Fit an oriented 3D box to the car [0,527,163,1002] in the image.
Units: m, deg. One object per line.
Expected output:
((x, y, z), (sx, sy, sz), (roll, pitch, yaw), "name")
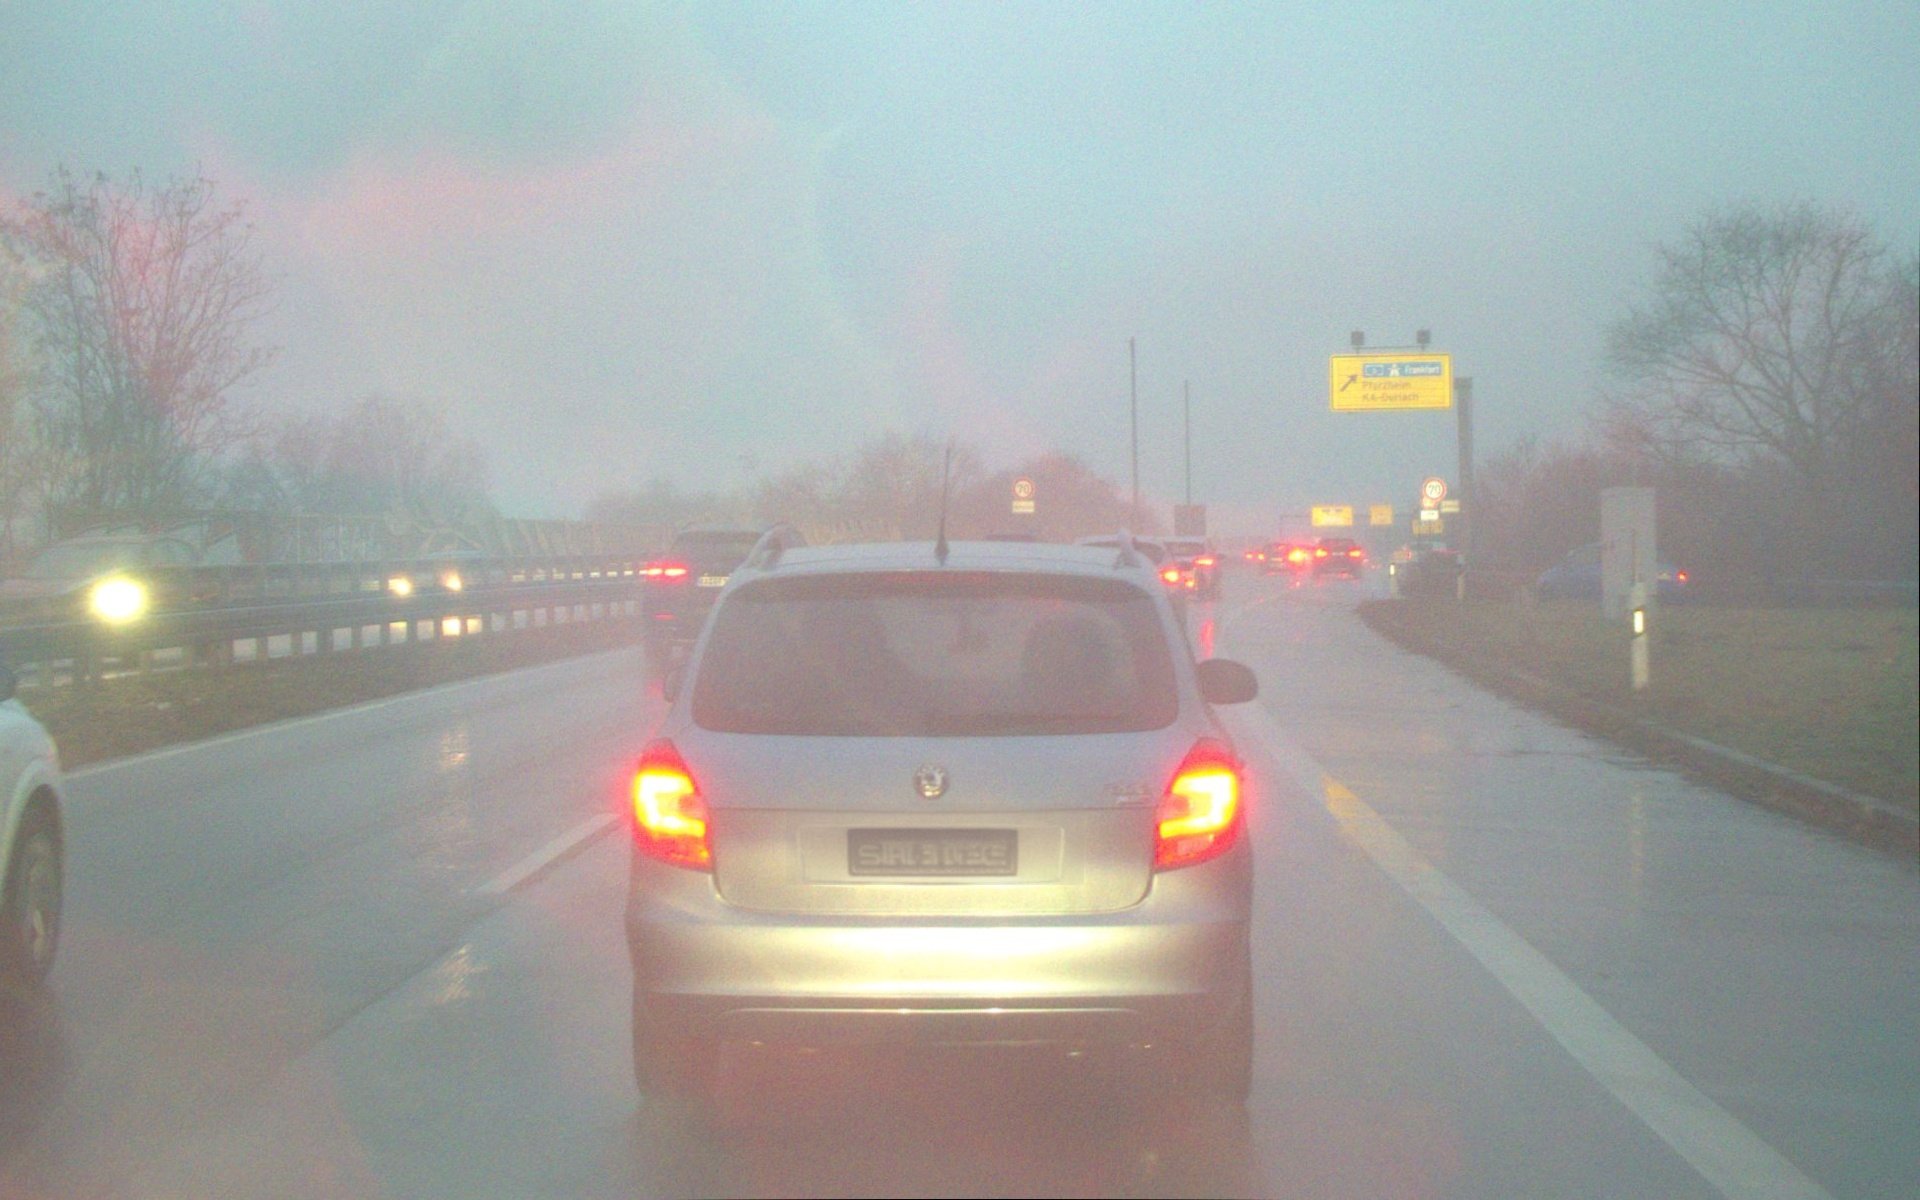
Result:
((-3.788, 0.514, 10.069), (1.724, 1.435, 4.225), (-1, 1, 3), "car")

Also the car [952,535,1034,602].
((0.808, -0.765, 82.081), (1.789, 1.540, 4.000), (-1, 1, 3), "car")

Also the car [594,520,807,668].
((-2.969, -0.107, 40.240), (1.993, 1.596, 4.308), (1, 1, 2), "car")

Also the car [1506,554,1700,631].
((13.471, -0.167, 72.220), (1.789, 1.540, 4.000), (-1, 1, -31), "car")

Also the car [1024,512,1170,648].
((1.909, -0.298, 47.284), (1.897, 1.761, 4.308), (-1, 1, 3), "car")

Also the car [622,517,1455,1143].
((0.253, 0.534, 10.356), (1.993, 1.495, 4.137), (-1, 1, 2), "car")

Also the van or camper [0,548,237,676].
((-10.405, 0.113, 42.581), (1.527, 1.476, 4.433), (-1, 1, 6), "van or camper")
